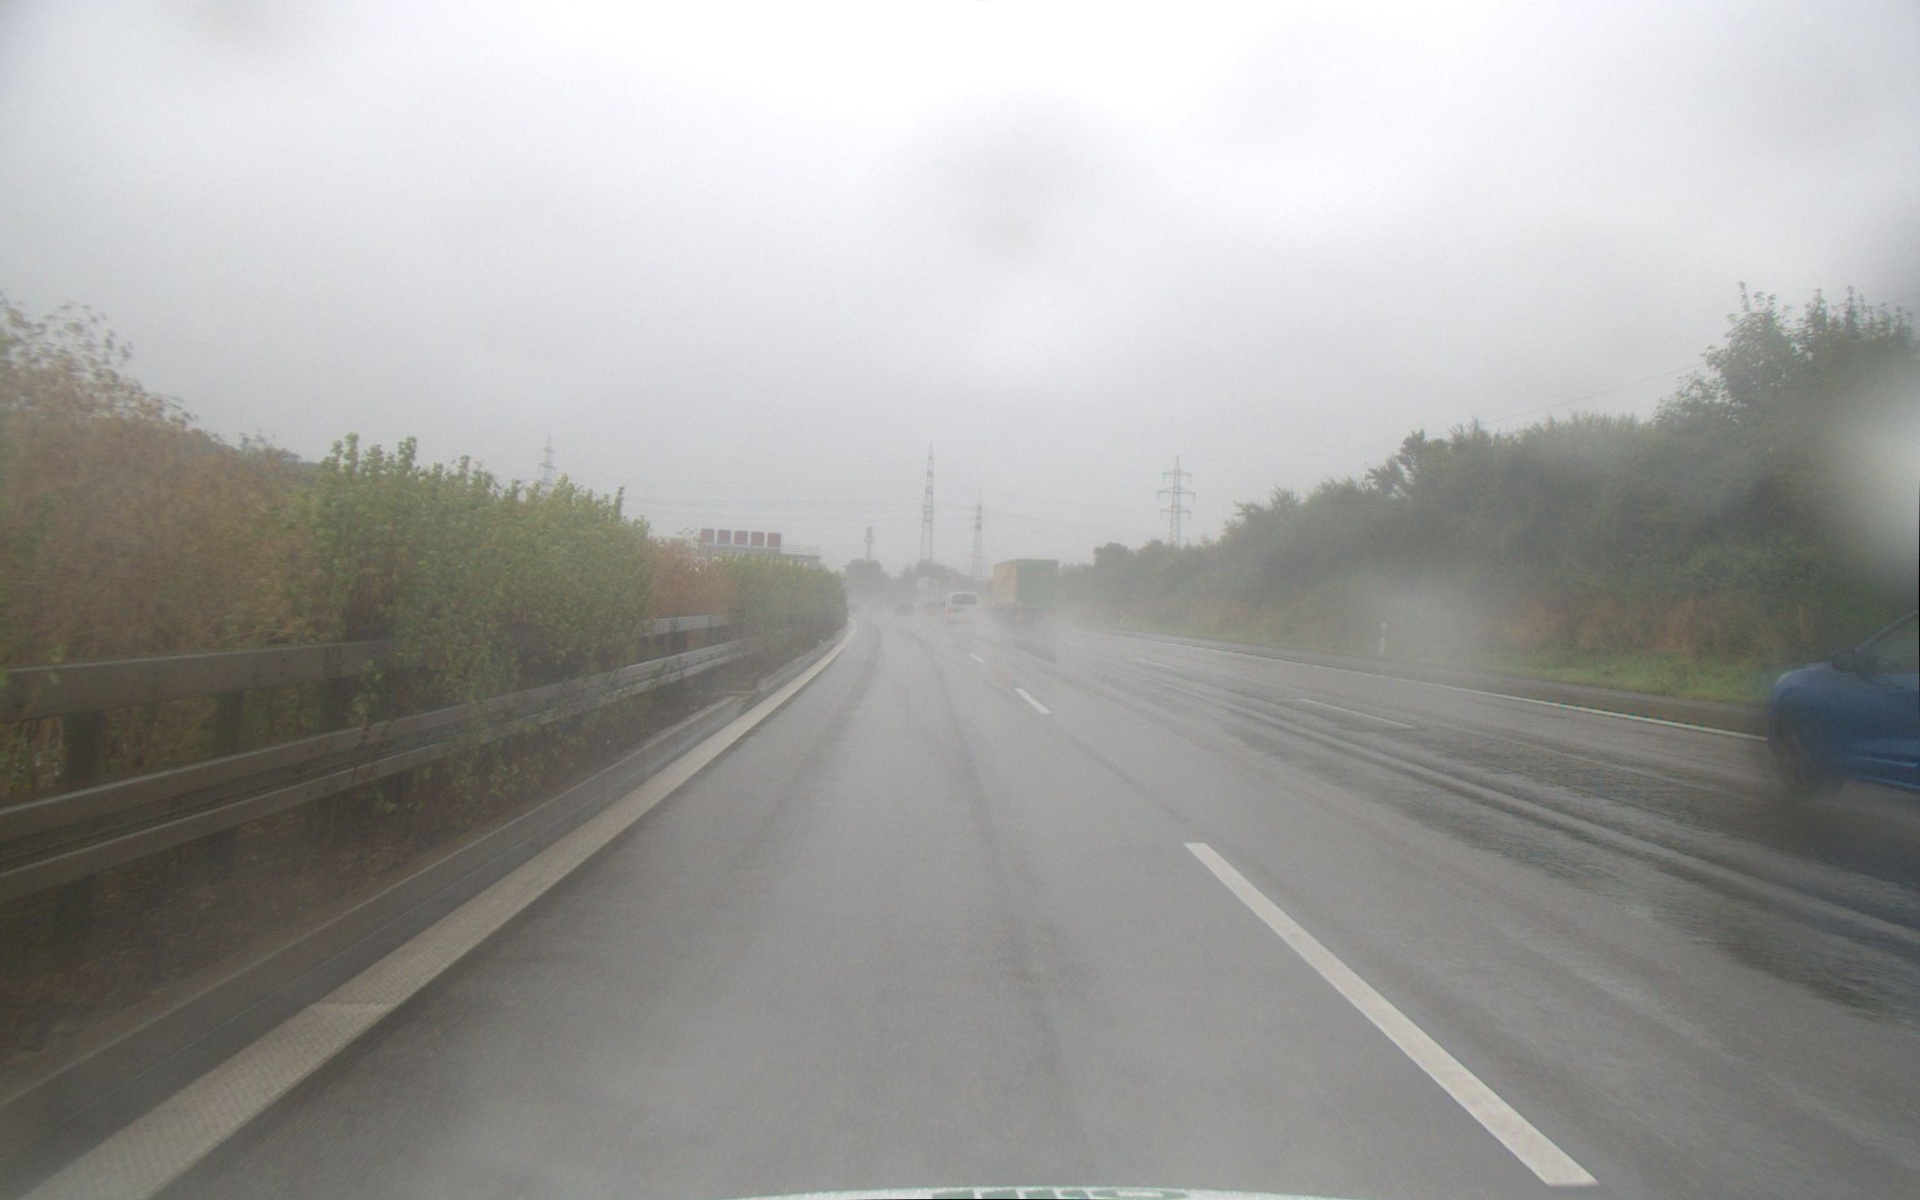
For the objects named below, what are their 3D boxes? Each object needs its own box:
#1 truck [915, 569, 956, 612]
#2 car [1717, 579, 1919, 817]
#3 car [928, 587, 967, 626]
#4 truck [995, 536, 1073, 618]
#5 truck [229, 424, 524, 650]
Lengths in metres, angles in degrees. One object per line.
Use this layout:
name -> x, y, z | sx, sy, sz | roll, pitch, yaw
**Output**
truck -> -2.621, -1.009, 173.833 | 3.172, 4.387, 8.820 | 1, 0, -8
car -> 7.619, 0.693, 11.907 | 1.953, 1.647, 4.990 | 1, -1, -2
car -> -0.713, 0.337, 90.454 | 1.953, 2.049, 3.998 | 1, 0, -2
truck -> 4.442, -1.280, 103.834 | 4.103, 4.711, 16.103 | 1, 0, 0
truck -> -18.345, -1.781, 54.003 | 4.029, 6.232, 16.000 | 1, 0, -1
